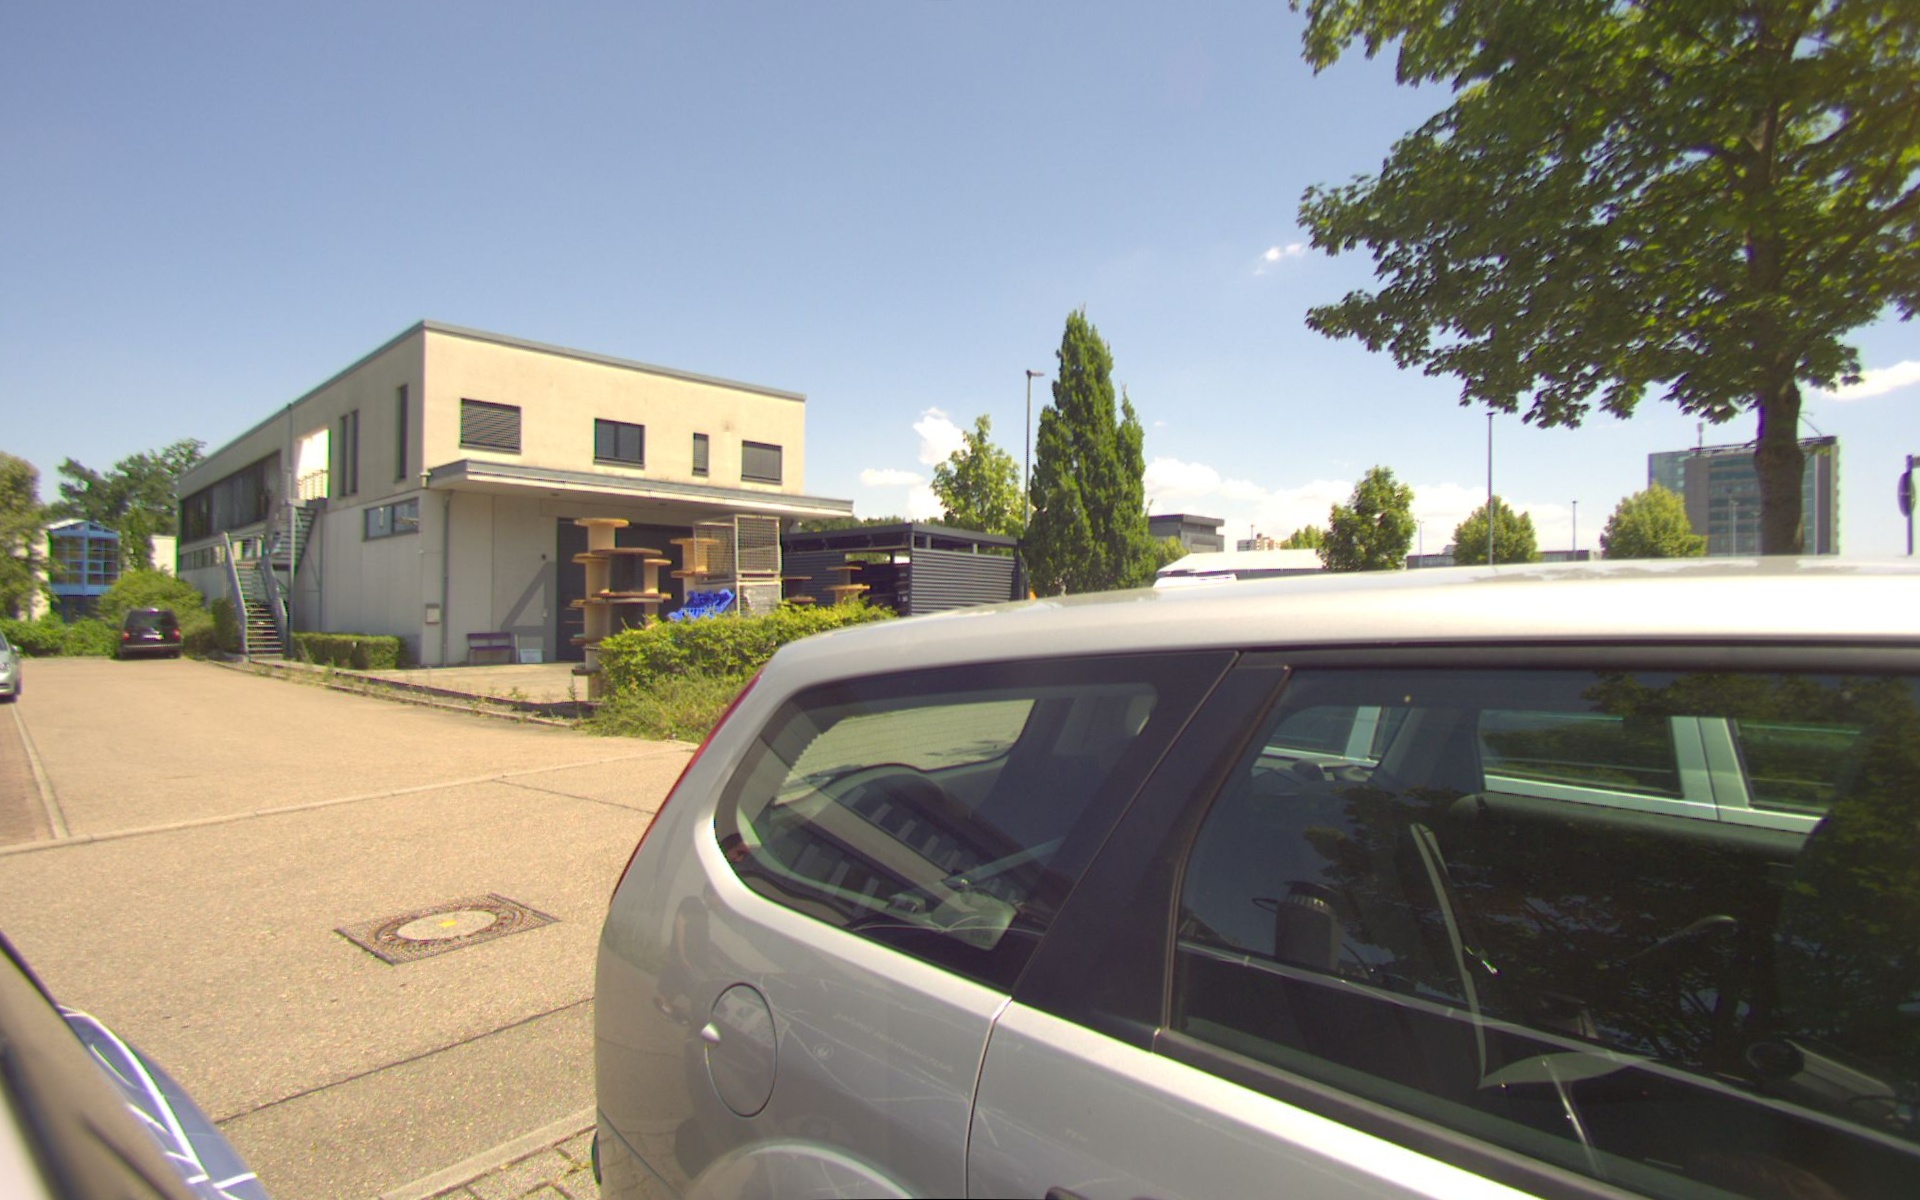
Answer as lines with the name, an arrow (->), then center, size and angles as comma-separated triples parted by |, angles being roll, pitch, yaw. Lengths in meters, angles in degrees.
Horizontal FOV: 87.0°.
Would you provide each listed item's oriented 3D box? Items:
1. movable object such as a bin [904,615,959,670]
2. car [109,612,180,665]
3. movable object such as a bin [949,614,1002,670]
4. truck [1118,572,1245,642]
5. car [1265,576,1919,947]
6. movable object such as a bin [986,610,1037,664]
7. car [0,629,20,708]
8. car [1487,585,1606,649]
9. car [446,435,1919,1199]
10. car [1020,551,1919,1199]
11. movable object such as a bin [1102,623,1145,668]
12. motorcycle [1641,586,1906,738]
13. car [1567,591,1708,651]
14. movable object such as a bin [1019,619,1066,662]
movable object such as a bin -> -0.685, 1.011, 24.350 | 1.056, 1.280, 0.761 | -1, -1, -40
car -> -30.080, 1.364, 37.283 | 1.761, 1.817, 4.004 | -1, 0, -43
movable object such as a bin -> 0.394, 1.029, 25.127 | 1.056, 1.346, 0.761 | -1, -1, -40
truck -> 9.168, 0.264, 41.636 | 5.614, 2.692, 2.420 | -1, -1, -45
car -> 3.724, 0.642, 5.054 | 3.886, 1.459, 1.632 | -1, -1, 38
movable object such as a bin -> 1.333, 0.933, 26.073 | 1.056, 1.346, 0.761 | -1, -1, -40
car -> -19.093, 1.268, 19.202 | 1.686, 1.402, 3.816 | 1, -1, -41
car -> 17.382, 0.464, 29.941 | 3.936, 1.751, 1.776 | -1, 0, -39
car -> 1.302, 0.646, 1.003 | 4.345, 1.490, 1.702 | -1, -1, 41
car -> 2.252, 0.641, 3.124 | 3.886, 1.490, 1.632 | -1, -1, 38
movable object such as a bin -> 3.725, 1.026, 23.112 | 0.581, 0.977, 0.761 | -1, -1, -40
motorcycle -> 8.017, 0.591, 10.089 | 1.986, 1.400, 0.478 | -2, -1, 38
car -> 18.578, 0.543, 27.730 | 3.932, 1.533, 1.658 | -1, 0, -31
movable object such as a bin -> 2.186, 1.050, 26.754 | 0.972, 1.092, 0.761 | -1, -1, -40
